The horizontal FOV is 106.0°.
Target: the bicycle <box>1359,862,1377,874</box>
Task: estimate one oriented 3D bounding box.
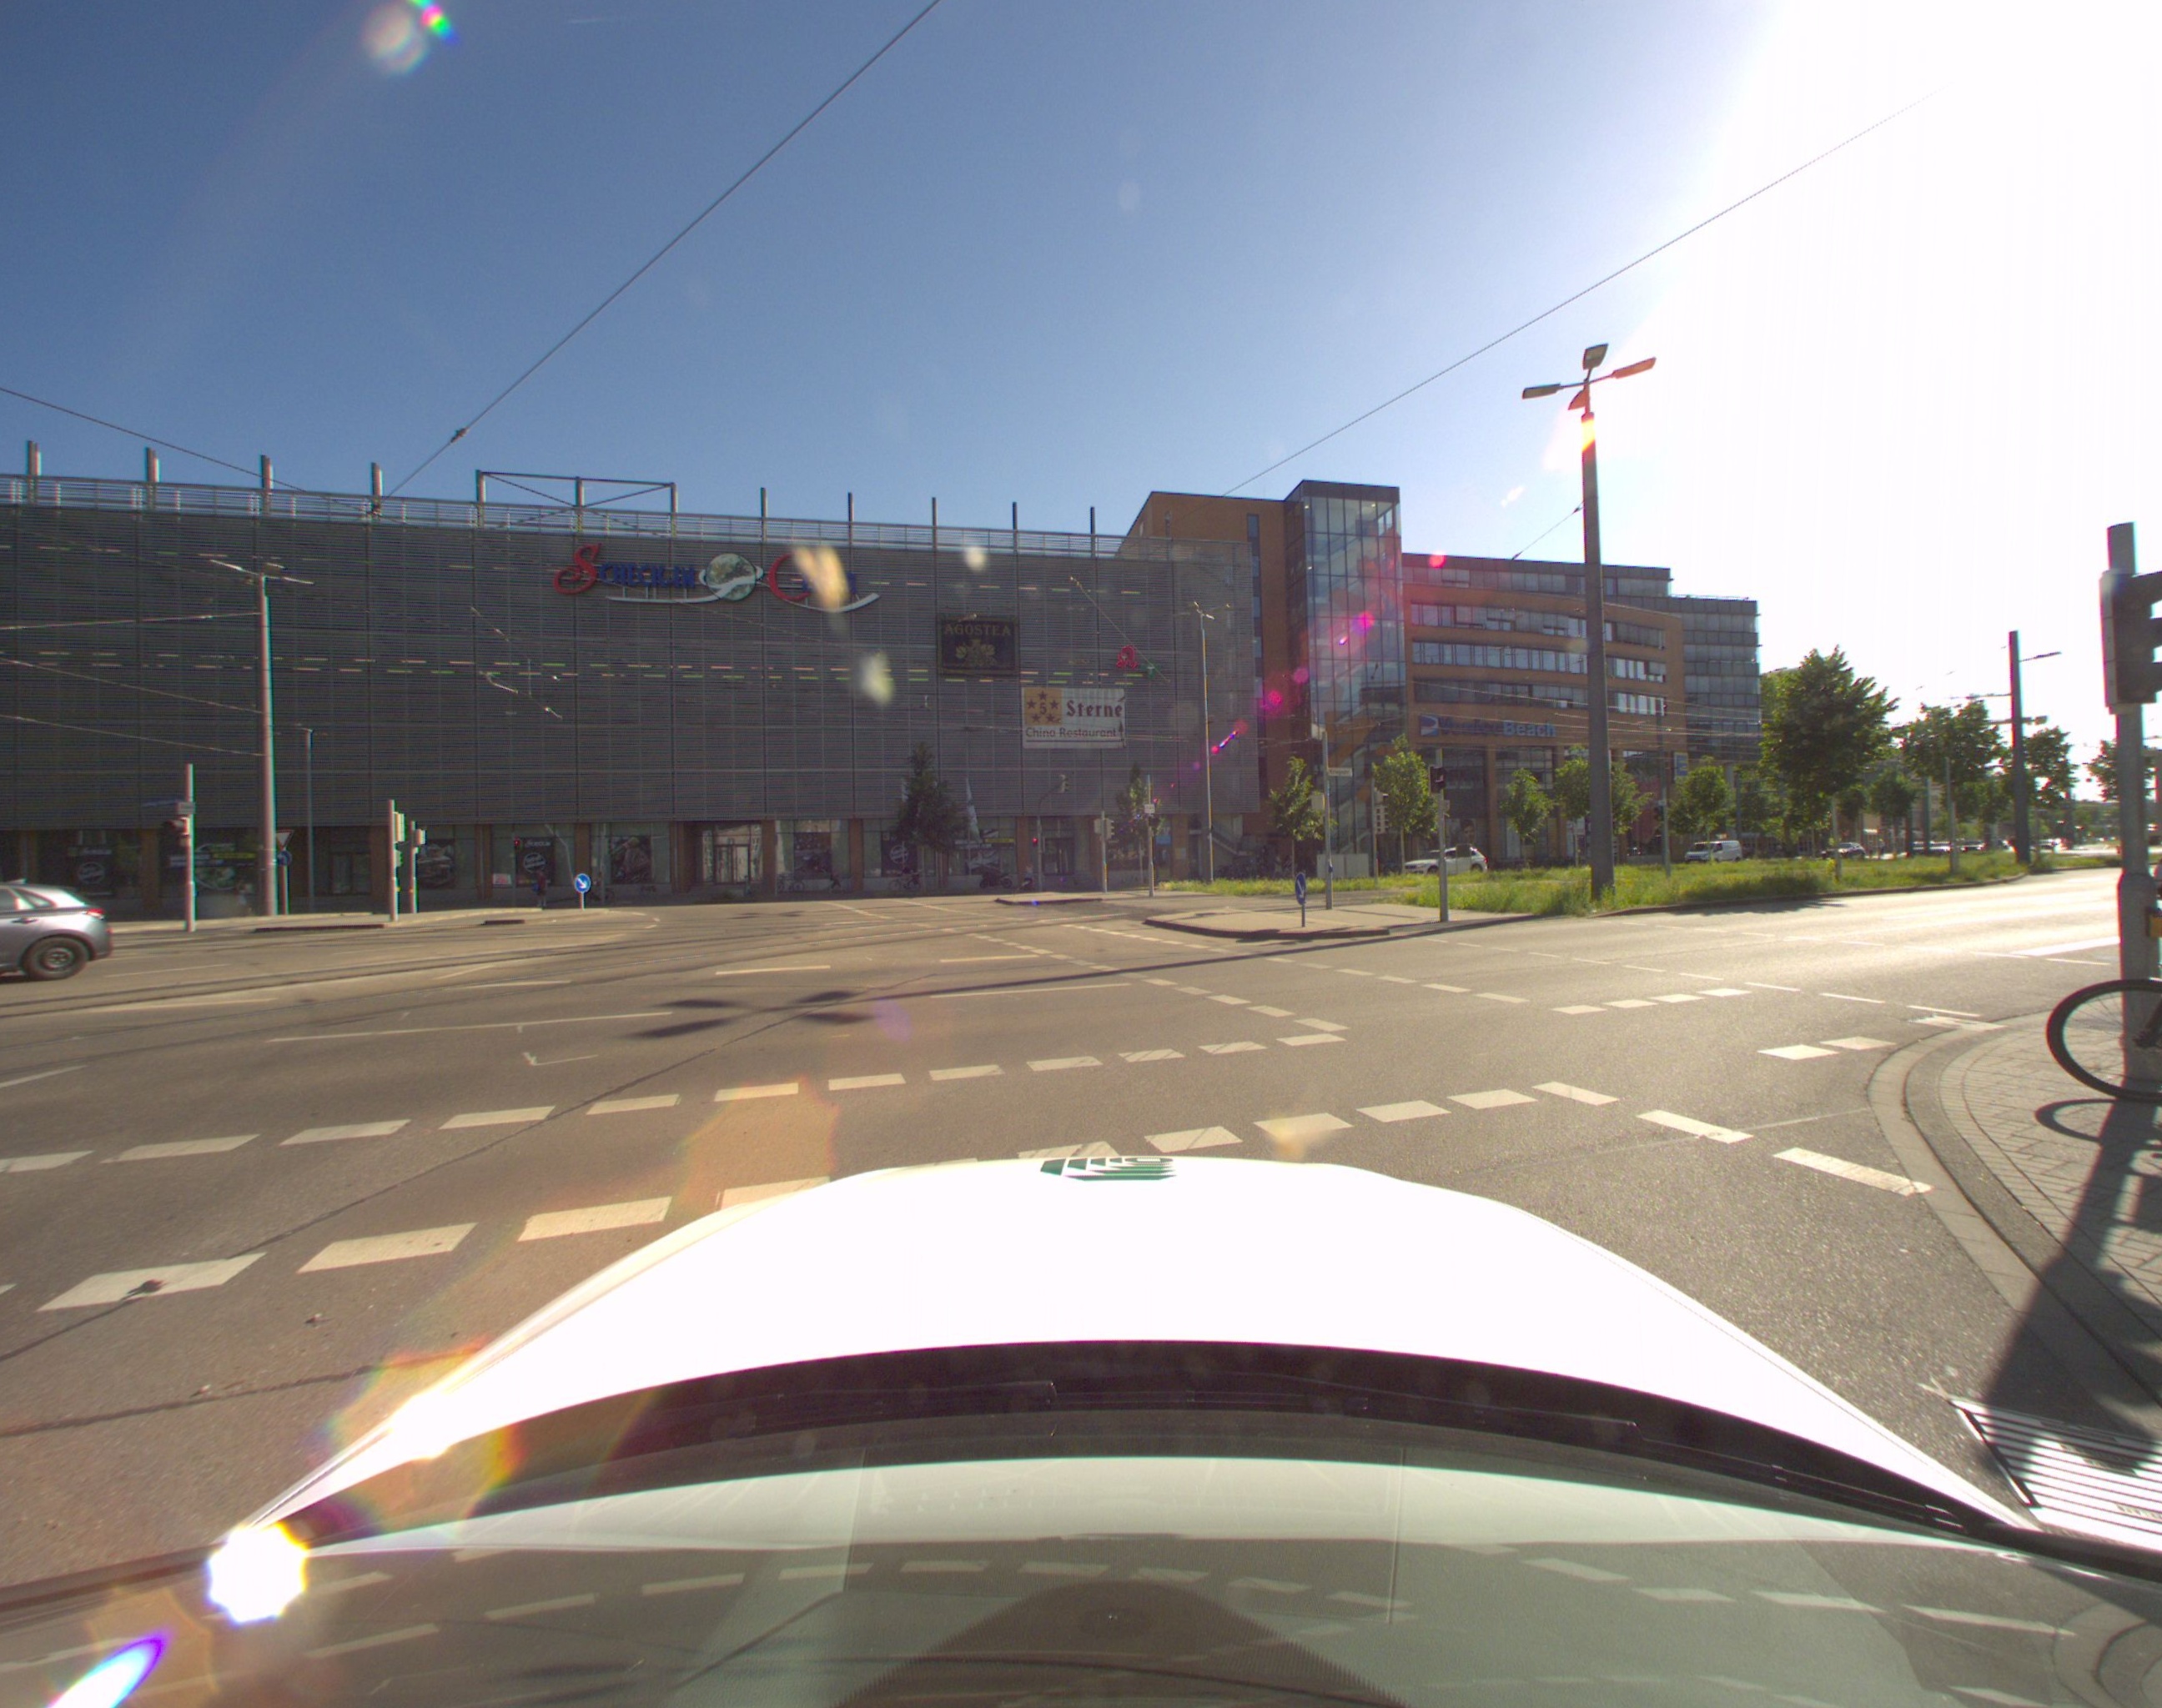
[{"bbox_3d":[20.677,1.018,58.722,0.445,0.819,1.442,-1,0,-17],"label":"bicycle"}]

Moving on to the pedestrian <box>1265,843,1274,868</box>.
[{"bbox_3d":[14.199,0.119,61.415,0.538,1.915,0.373,0,-1,-5],"label":"pedestrian"}]

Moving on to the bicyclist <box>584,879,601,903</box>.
[{"bbox_3d":[-24.511,1.854,40.855,0.553,1.139,0.567,-2,-1,45],"label":"bicyclist"}]

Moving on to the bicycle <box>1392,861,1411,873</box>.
[{"bbox_3d":[23.405,0.926,59.533,0.445,0.819,1.442,-1,0,-17],"label":"bicycle"}]

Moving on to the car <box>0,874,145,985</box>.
[{"bbox_3d":[-15.991,1.069,10.738,1.979,1.499,4.327,-2,-1,15],"label":"car"}]

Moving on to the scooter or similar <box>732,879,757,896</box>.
[{"bbox_3d":[-18.159,1.821,43.972,1.225,0.851,0.299,-1,-1,-15],"label":"scooter or similar"}]

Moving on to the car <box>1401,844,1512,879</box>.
[{"bbox_3d":[19.866,0.382,43.078,5.543,1.652,1.803,-1,-1,-18],"label":"car"}]

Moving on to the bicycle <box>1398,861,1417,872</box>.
[{"bbox_3d":[23.913,0.910,59.671,0.445,0.819,1.442,-1,0,-17],"label":"bicycle"}]

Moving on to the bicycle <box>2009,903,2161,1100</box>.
[{"bbox_3d":[6.340,0.810,4.224,0.606,1.038,1.884,-2,-2,-17],"label":"bicycle"}]

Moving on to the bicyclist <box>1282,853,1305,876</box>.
[{"bbox_3d":[13.977,0.689,53.465,1.309,1.407,0.591,-1,-1,-11],"label":"bicyclist"}]

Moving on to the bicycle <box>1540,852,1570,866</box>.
[{"bbox_3d":[38.765,0.401,66.643,0.753,1.123,2.167,-1,0,-17],"label":"bicycle"}]

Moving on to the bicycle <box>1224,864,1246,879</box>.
[{"bbox_3d":[10.416,1.146,55.175,0.492,0.954,2.167,-1,0,-17],"label":"bicycle"}]

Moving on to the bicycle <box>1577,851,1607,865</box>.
[{"bbox_3d":[42.418,0.320,67.621,0.753,1.123,2.167,-1,0,-17],"label":"bicycle"}]

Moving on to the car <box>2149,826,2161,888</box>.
[{"bbox_3d":[26.772,0.037,18.906,4.305,1.403,1.762,-1,1,-29],"label":"car"}]

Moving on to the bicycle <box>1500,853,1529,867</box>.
[{"bbox_3d":[34.877,0.487,65.606,0.753,1.123,2.167,-1,0,-17],"label":"bicycle"}]

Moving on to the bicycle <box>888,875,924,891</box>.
[{"bbox_3d":[-10.189,1.689,47.497,2.044,0.867,0.679,-1,-1,-14],"label":"bicycle"}]

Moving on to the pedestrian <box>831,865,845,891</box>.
[{"bbox_3d":[-14.330,1.435,48.051,0.647,1.519,0.490,-1,-1,-8],"label":"pedestrian"}]

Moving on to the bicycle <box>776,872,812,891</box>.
[{"bbox_3d":[-17.081,1.614,48.462,1.949,1.038,0.570,-1,-1,-17],"label":"bicycle"}]

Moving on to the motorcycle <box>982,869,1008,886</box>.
[{"bbox_3d":[-5.396,1.461,51.187,1.615,1.038,0.400,-1,-1,-12],"label":"motorcycle"}]

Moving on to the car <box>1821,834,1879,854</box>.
[{"bbox_3d":[67.257,-0.873,71.250,4.541,1.681,1.985,-1,-1,-22],"label":"car"}]

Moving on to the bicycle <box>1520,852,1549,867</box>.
[{"bbox_3d":[36.673,0.448,65.898,0.753,1.123,2.167,-1,0,-17],"label":"bicycle"}]

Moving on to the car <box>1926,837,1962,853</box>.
[{"bbox_3d":[80.381,-0.855,75.840,4.814,1.334,1.976,-1,-1,-40],"label":"car"}]

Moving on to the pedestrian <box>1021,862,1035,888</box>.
[{"bbox_3d":[-3.024,1.189,46.360,0.737,1.487,0.489,-1,-1,-3],"label":"pedestrian"}]

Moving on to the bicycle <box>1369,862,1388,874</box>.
[{"bbox_3d":[21.553,1.008,59.006,0.445,0.819,1.442,-1,0,-17],"label":"bicycle"}]

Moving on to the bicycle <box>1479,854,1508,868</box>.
[{"bbox_3d":[32.976,0.538,65.125,0.753,1.123,2.167,-1,0,-17],"label":"bicycle"}]

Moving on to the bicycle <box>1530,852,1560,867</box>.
[{"bbox_3d":[37.562,0.436,65.931,0.753,1.123,2.167,-1,0,-17],"label":"bicycle"}]

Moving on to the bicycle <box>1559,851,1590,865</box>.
[{"bbox_3d":[40.665,0.351,67.137,0.753,1.123,2.167,-1,0,-17],"label":"bicycle"}]

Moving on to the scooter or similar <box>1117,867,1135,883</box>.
[{"bbox_3d":[2.990,1.387,54.184,1.202,1.103,0.276,0,-1,-11],"label":"scooter or similar"}]

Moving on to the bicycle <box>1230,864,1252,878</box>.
[{"bbox_3d":[10.913,1.154,55.506,0.492,0.954,2.167,-1,0,-17],"label":"bicycle"}]

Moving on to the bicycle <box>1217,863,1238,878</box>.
[{"bbox_3d":[9.878,1.125,54.975,0.492,0.954,2.167,-1,0,-17],"label":"bicycle"}]

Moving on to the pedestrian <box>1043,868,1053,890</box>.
[{"bbox_3d":[-1.828,1.397,45.759,0.444,1.229,0.399,-2,-1,13],"label":"pedestrian"}]

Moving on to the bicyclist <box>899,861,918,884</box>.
[{"bbox_3d":[-10.078,1.069,47.527,1.037,1.318,0.679,-1,-1,-13],"label":"bicyclist"}]

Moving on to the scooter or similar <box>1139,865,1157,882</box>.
[{"bbox_3d":[4.492,1.299,54.699,1.202,1.103,0.276,0,-1,-11],"label":"scooter or similar"}]

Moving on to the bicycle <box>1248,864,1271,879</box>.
[{"bbox_3d":[12.083,1.154,55.239,0.492,0.954,2.167,-1,0,-17],"label":"bicycle"}]

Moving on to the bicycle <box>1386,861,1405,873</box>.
[{"bbox_3d":[22.901,0.935,59.350,0.445,0.819,1.442,-1,0,-17],"label":"bicycle"}]

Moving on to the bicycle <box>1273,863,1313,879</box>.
[{"bbox_3d":[13.913,1.117,53.459,2.561,1.010,0.596,-1,-1,-11],"label":"bicycle"}]

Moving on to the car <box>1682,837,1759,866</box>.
[{"bbox_3d":[47.949,-0.197,61.053,5.259,2.014,2.212,-1,-1,-22],"label":"car"}]

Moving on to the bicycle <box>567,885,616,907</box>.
[{"bbox_3d":[-24.526,2.089,40.830,0.553,0.985,2.033,-2,-1,45],"label":"bicycle"}]

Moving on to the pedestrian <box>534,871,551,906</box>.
[{"bbox_3d":[-26.881,1.714,40.661,0.627,1.751,0.583,-1,-1,-31],"label":"pedestrian"}]

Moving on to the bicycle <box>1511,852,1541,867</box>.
[{"bbox_3d":[35.871,0.446,65.677,0.753,1.123,2.167,-1,0,-17],"label":"bicycle"}]

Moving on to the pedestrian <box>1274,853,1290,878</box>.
[{"bbox_3d":[13.516,0.763,54.688,0.780,1.685,0.592,-1,-1,-26],"label":"pedestrian"}]

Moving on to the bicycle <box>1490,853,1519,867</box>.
[{"bbox_3d":[33.979,0.496,65.395,0.753,1.123,2.167,-1,0,-17],"label":"bicycle"}]

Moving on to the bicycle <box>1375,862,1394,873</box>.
[{"bbox_3d":[22.075,0.970,59.262,0.445,0.819,1.442,-1,0,-17],"label":"bicycle"}]
